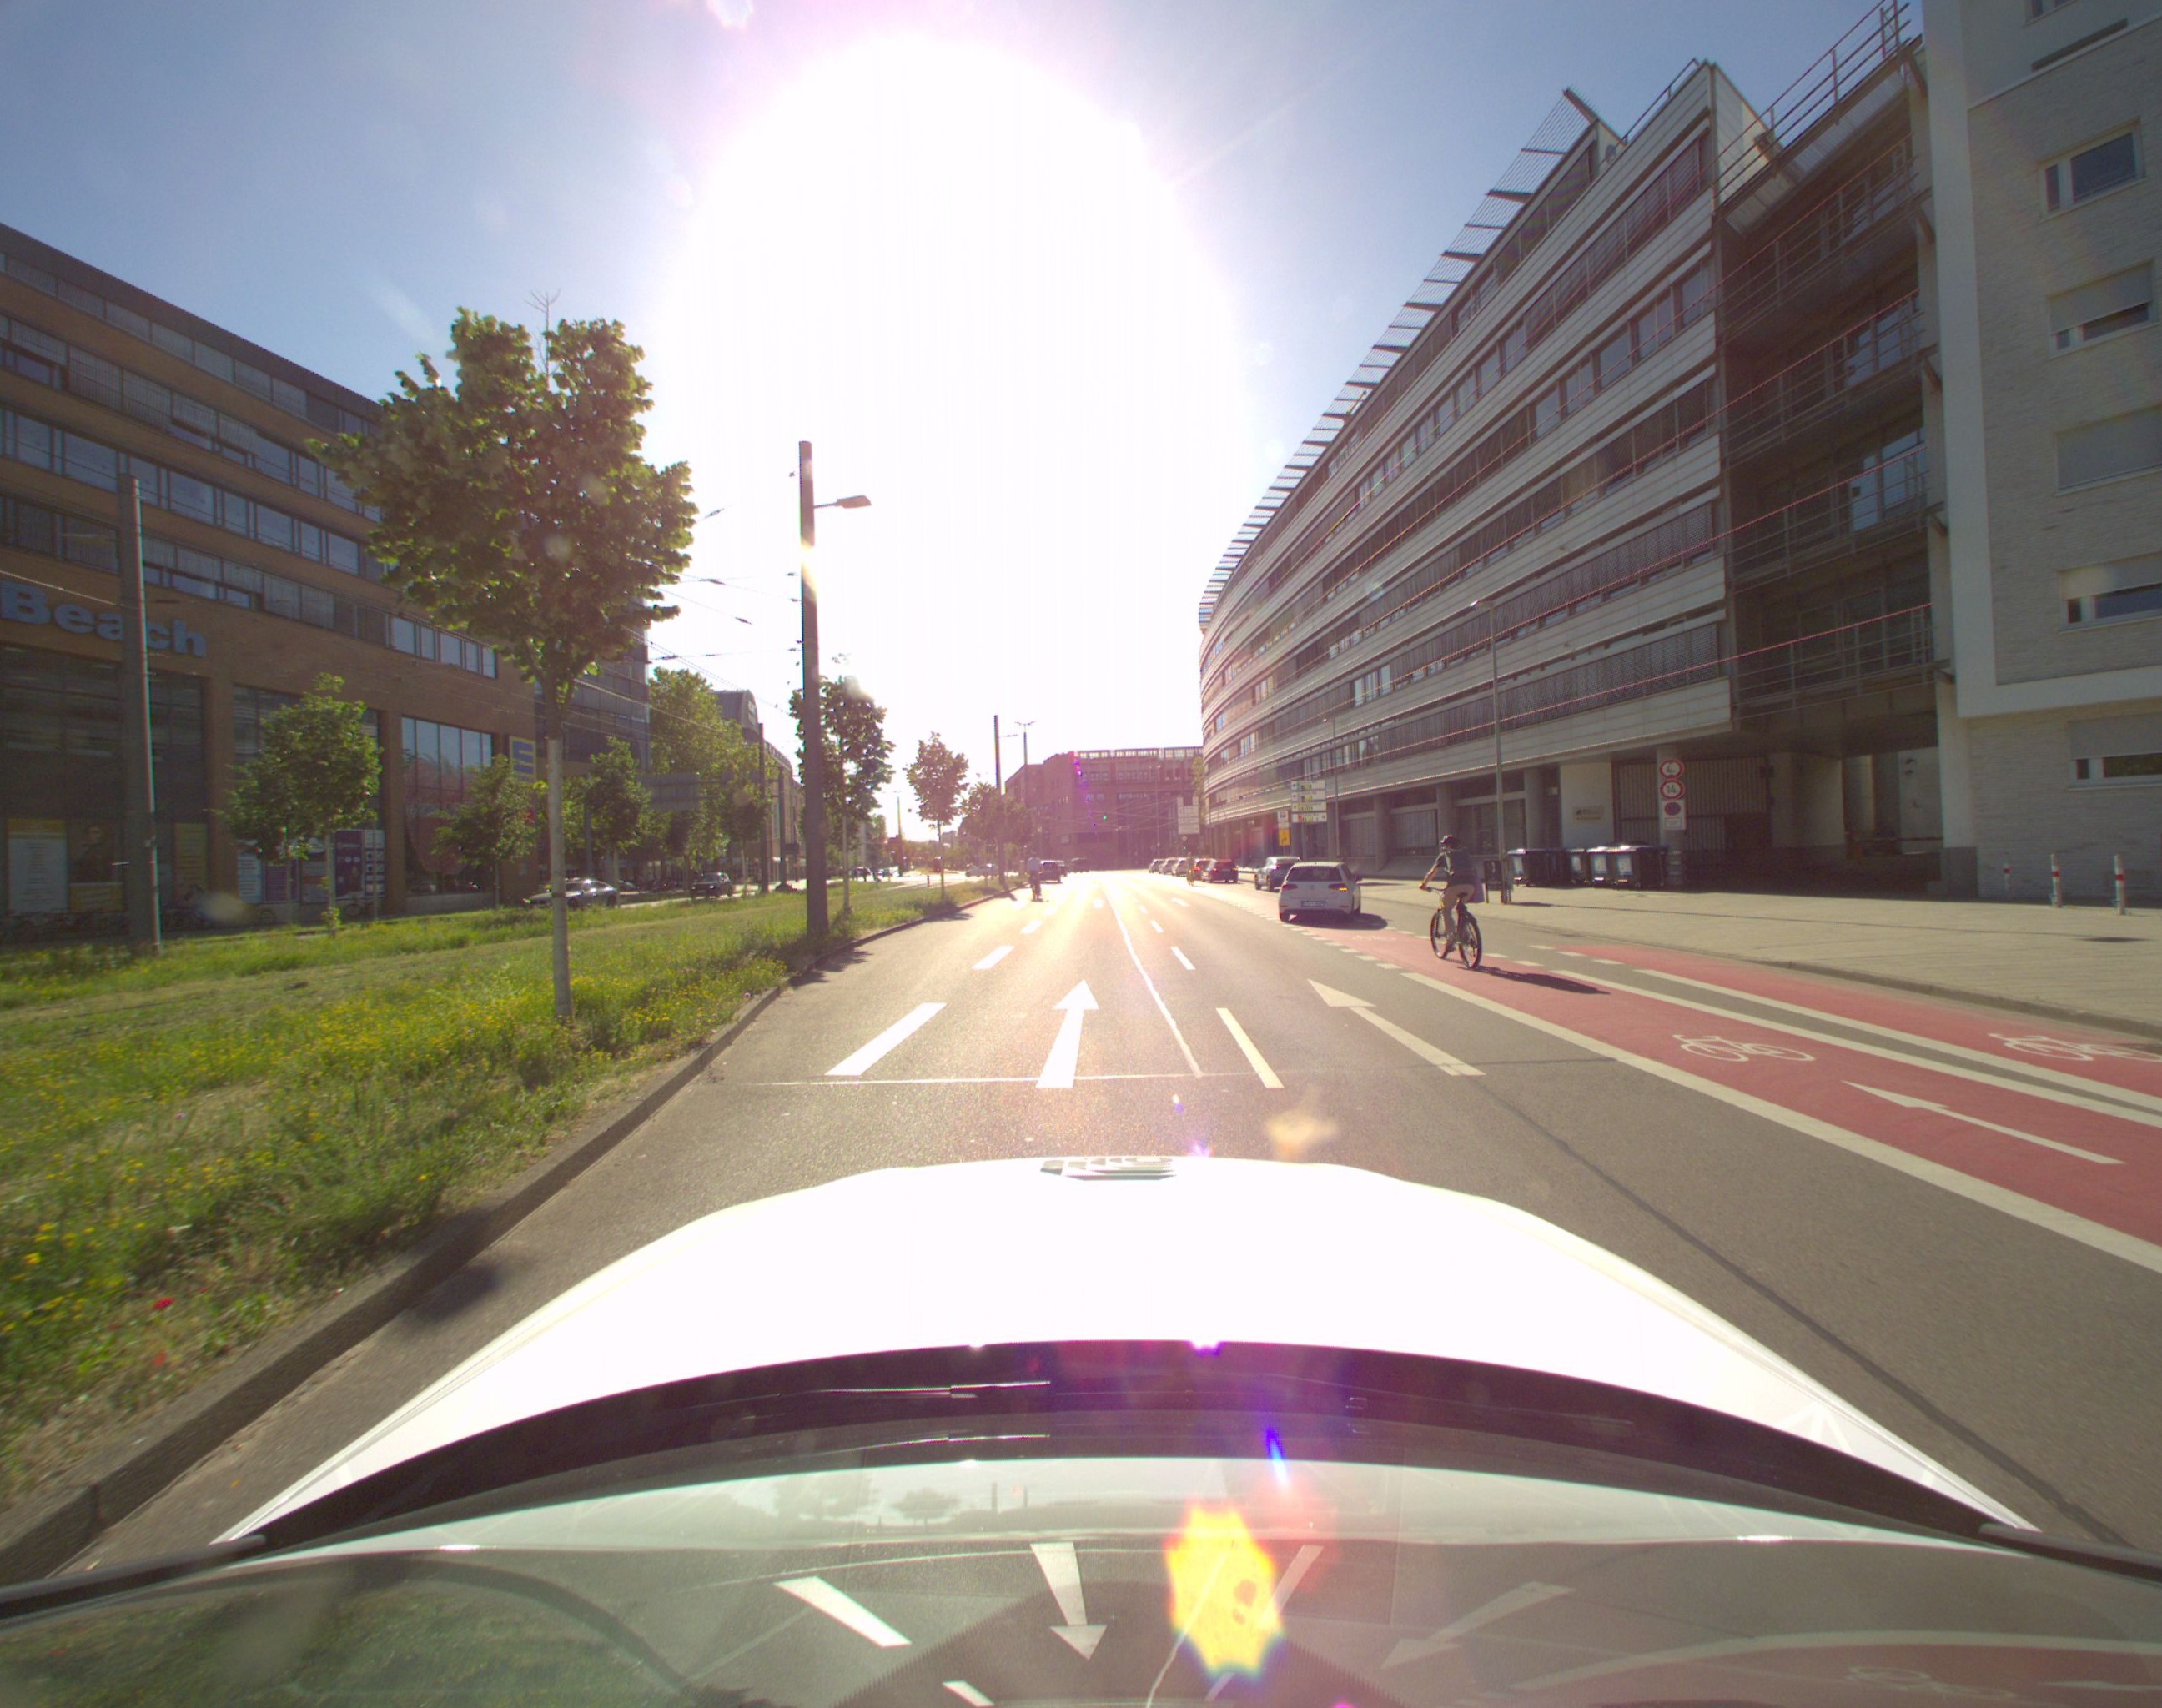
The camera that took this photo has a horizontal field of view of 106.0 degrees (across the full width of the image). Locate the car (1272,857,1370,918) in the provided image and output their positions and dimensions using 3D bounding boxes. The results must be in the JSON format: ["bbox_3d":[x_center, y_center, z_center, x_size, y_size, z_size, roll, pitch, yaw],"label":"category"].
[{"bbox_3d":[6.247,0.776,20.898,1.756,1.403,4.318,0,0,25],"label":"car"}]

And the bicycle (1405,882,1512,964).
[{"bbox_3d":[5.421,0.952,11.830,0.821,1.037,1.894,0,0,5],"label":"bicycle"}]

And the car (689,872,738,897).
[{"bbox_3d":[-22.585,1.857,50.181,1.423,1.359,3.297,-2,0,2],"label":"car"}]

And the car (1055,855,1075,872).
[{"bbox_3d":[-1.534,0.896,75.634,1.722,1.449,4.516,-2,0,-3],"label":"car"}]

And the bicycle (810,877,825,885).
[{"bbox_3d":[-49.943,5.113,154.208,2.479,1.310,0.732,-2,-1,-4],"label":"bicycle"}]

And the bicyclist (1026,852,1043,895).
[{"bbox_3d":[-1.870,0.777,32.632,0.616,1.669,1.019,0,-1,0],"label":"bicyclist"}]

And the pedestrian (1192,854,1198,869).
[{"bbox_3d":[12.748,0.854,91.045,0.424,1.645,0.564,-3,0,12],"label":"pedestrian"}]

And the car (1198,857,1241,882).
[{"bbox_3d":[8.623,0.966,51.124,1.717,1.422,4.634,-2,0,-2],"label":"car"}]

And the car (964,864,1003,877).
[{"bbox_3d":[-11.752,1.960,98.280,4.355,1.381,2.080,-3,-1,35],"label":"car"}]

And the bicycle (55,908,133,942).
[{"bbox_3d":[-35.148,2.522,29.007,2.161,1.123,0.755,-1,-1,8],"label":"bicycle"}]

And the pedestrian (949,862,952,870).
[{"bbox_3d":[-26.197,2.359,163.469,0.539,1.655,0.703,-2,-1,-15],"label":"pedestrian"}]

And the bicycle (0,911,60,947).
[{"bbox_3d":[-35.737,2.521,27.377,2.161,1.123,0.755,-1,-1,8],"label":"bicycle"}]

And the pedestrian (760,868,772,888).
[{"bbox_3d":[-30.174,2.297,78.043,0.757,1.831,0.626,-2,-1,8],"label":"pedestrian"}]

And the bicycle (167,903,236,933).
[{"bbox_3d":[-34.923,2.551,32.339,2.161,1.123,0.755,-1,-1,8],"label":"bicycle"}]

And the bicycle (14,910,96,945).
[{"bbox_3d":[-35.511,2.540,28.187,2.161,1.123,0.755,-1,-1,8],"label":"bicycle"}]

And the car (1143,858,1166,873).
[{"bbox_3d":[7.764,1.204,86.677,1.902,1.583,4.133,0,0,-3],"label":"car"}]

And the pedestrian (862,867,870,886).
[{"bbox_3d":[-20.798,2.148,78.677,0.585,1.831,0.492,-2,-1,-39],"label":"pedestrian"}]

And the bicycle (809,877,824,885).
[{"bbox_3d":[-49.659,5.091,152.982,2.479,1.310,0.732,-2,-1,-4],"label":"bicycle"}]

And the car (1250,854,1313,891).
[{"bbox_3d":[8.894,0.801,36.452,1.716,1.524,4.398,-2,0,0],"label":"car"}]

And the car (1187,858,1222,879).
[{"bbox_3d":[8.791,1.014,58.309,1.716,1.396,4.787,-2,0,0],"label":"car"}]

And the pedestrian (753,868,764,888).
[{"bbox_3d":[-30.508,2.235,77.058,0.757,1.831,0.625,-2,-1,4],"label":"pedestrian"}]

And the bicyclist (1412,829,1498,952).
[{"bbox_3d":[5.368,0.511,11.748,0.803,1.693,1.053,0,-1,5],"label":"bicyclist"}]

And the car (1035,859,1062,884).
[{"bbox_3d":[-2.182,1.134,55.012,1.722,1.564,3.674,-2,-1,-2],"label":"car"}]

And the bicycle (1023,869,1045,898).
[{"bbox_3d":[-1.875,1.174,32.783,0.684,1.069,2.696,0,0,0],"label":"bicycle"}]

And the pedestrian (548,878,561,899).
[{"bbox_3d":[-41.252,2.700,63.808,0.505,1.624,0.787,-2,-2,-1],"label":"pedestrian"}]

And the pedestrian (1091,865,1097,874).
[{"bbox_3d":[2.097,2.533,133.289,0.619,1.563,0.981,-2,-1,-16],"label":"pedestrian"}]

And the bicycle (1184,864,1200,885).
[{"bbox_3d":[6.342,1.148,46.619,0.646,1.110,1.759,-2,0,2],"label":"bicycle"}]

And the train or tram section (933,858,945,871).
[{"bbox_3d":[-32.808,2.409,188.082,2.327,3.003,13.112,-2,0,-10],"label":"train or tram section"}]

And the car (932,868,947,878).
[{"bbox_3d":[-26.100,3.517,150.229,2.267,1.727,3.922,-2,0,-16],"label":"car"}]

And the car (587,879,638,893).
[{"bbox_3d":[-48.523,3.325,84.401,3.977,1.231,1.998,-2,0,-2],"label":"car"}]

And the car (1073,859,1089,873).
[{"bbox_3d":[-0.042,1.475,100.103,1.778,1.703,4.133,0,0,-3],"label":"car"}]

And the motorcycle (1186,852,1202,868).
[{"bbox_3d":[8.736,0.478,62.944,0.826,1.201,2.389,-1,-1,-1],"label":"motorcycle"}]

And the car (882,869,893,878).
[{"bbox_3d":[-33.390,3.319,140.427,1.611,1.398,3.902,-6,1,-13],"label":"car"}]

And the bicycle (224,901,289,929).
[{"bbox_3d":[-34.553,2.555,34.129,2.161,1.123,0.755,-1,-1,8],"label":"bicycle"}]

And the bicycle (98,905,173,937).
[{"bbox_3d":[-35.252,2.493,30.375,2.161,1.123,0.755,-1,-1,8],"label":"bicycle"}]

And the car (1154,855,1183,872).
[{"bbox_3d":[8.103,0.831,76.037,1.904,1.541,4.129,0,0,-6],"label":"car"}]

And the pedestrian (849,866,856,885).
[{"bbox_3d":[-21.673,2.048,77.374,0.464,1.831,0.453,-2,-1,-39],"label":"pedestrian"}]

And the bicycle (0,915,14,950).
[{"bbox_3d":[-36.072,2.574,26.439,2.161,1.123,0.755,-1,-1,8],"label":"bicycle"}]

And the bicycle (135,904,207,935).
[{"bbox_3d":[-35.077,2.530,31.407,2.161,1.123,0.755,-1,-1,8],"label":"bicycle"}]

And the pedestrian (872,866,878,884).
[{"bbox_3d":[-20.536,2.087,81.063,0.388,1.831,0.459,-2,-1,-32],"label":"pedestrian"}]

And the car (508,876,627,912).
[{"bbox_3d":[-22.917,1.741,36.623,1.984,1.334,4.796,-2,0,4],"label":"car"}]

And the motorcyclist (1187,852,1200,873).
[{"bbox_3d":[8.696,0.663,63.168,0.826,1.561,0.941,-1,-1,-2],"label":"motorcyclist"}]

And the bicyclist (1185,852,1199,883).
[{"bbox_3d":[6.326,0.756,46.518,0.646,1.752,1.046,-2,0,2],"label":"bicyclist"}]

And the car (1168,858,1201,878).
[{"bbox_3d":[8.636,1.145,68.564,1.903,1.583,4.130,0,0,-6],"label":"car"}]
